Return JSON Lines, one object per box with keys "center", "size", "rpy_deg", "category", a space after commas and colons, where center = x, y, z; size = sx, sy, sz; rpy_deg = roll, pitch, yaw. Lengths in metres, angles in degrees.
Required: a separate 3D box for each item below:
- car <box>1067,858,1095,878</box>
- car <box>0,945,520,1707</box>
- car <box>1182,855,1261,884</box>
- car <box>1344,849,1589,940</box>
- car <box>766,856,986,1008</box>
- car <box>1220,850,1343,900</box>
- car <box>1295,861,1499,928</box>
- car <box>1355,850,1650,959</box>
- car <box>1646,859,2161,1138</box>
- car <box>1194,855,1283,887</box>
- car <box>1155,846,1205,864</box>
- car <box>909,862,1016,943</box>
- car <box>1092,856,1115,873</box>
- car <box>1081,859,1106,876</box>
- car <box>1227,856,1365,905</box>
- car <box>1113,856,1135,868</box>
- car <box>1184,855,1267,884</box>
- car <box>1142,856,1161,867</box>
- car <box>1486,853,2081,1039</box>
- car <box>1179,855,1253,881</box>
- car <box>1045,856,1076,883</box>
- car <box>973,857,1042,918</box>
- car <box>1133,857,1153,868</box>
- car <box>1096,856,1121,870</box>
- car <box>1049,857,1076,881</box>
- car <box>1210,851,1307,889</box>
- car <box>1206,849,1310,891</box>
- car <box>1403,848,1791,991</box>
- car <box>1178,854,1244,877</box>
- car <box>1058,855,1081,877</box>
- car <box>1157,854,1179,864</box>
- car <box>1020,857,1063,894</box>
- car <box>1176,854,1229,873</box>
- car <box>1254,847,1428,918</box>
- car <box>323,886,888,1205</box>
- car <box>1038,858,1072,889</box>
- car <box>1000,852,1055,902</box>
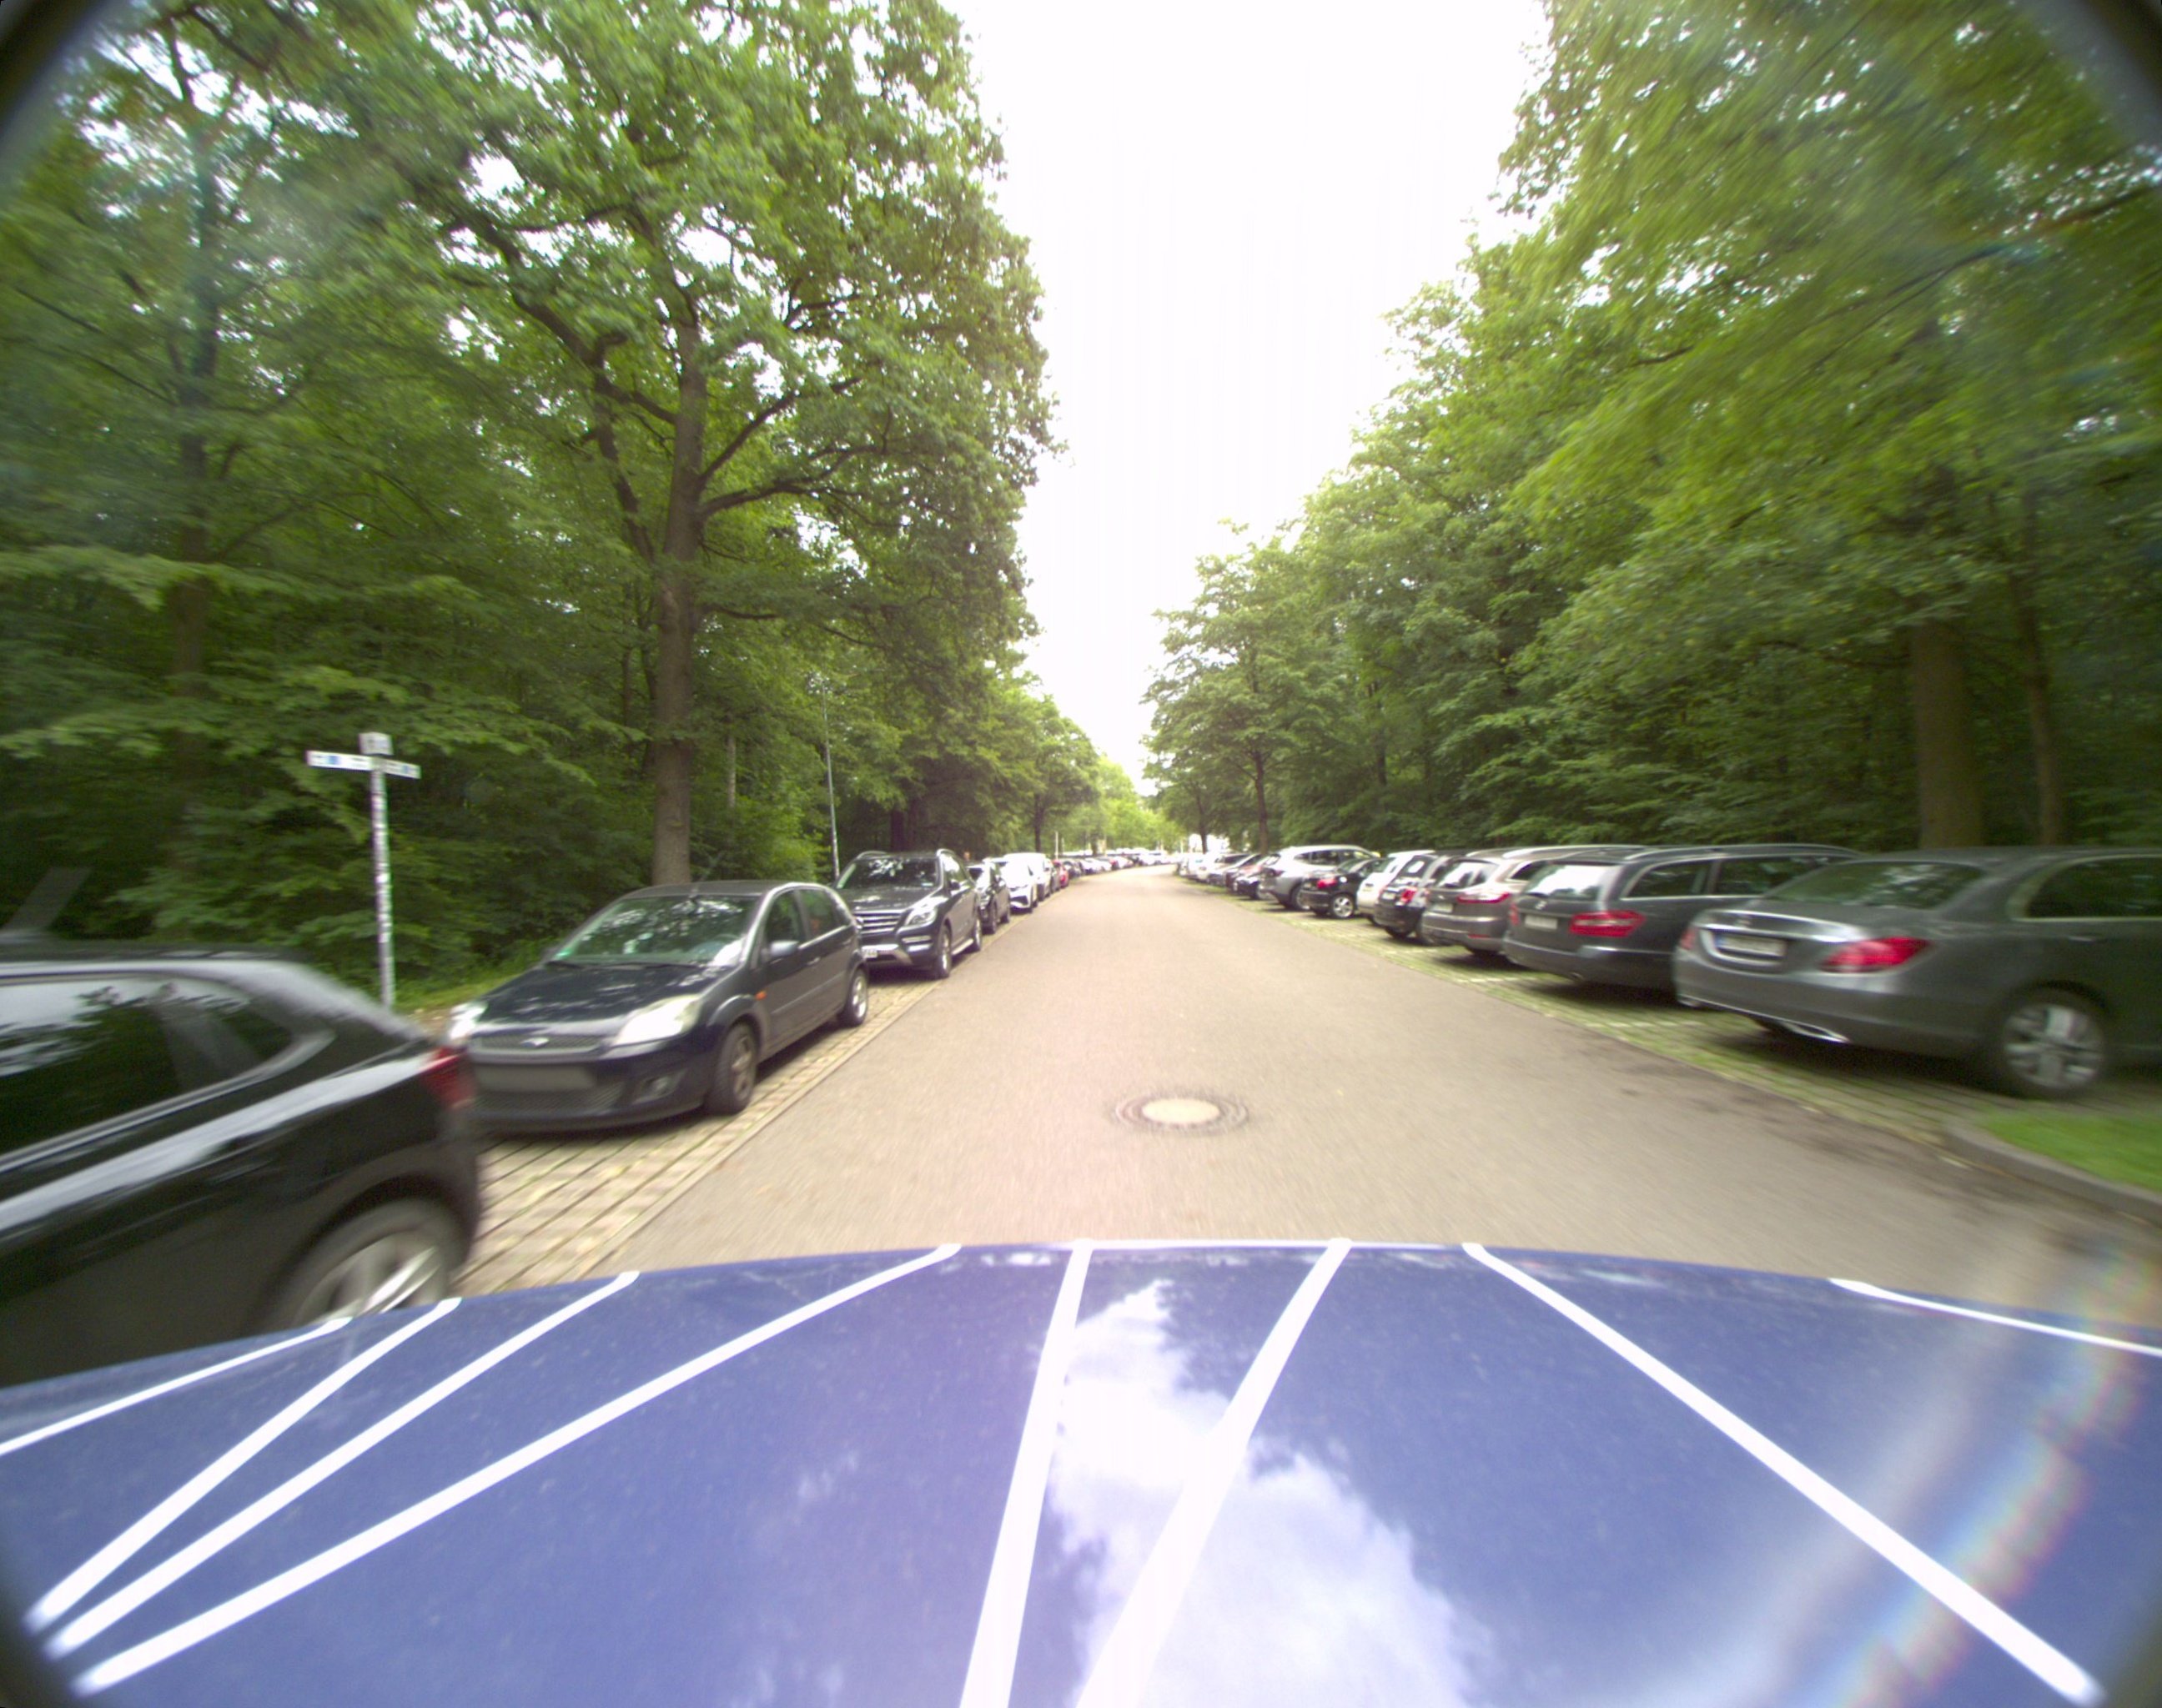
{"center": [0.011, 1.100, 61.469], "size": [1.501, 1.470, 3.669], "rpy_deg": [-2, 0, 12], "category": "car"}
{"center": [-2.900, 1.057, 0.660], "size": [1.824, 1.433, 4.000], "rpy_deg": [-1, 0, 0], "category": "car"}
{"center": [7.734, 0.845, 41.944], "size": [3.998, 1.469, 1.713], "rpy_deg": [-1, 0, -3], "category": "car"}
{"center": [7.551, 0.753, 15.103], "size": [3.999, 1.508, 1.713], "rpy_deg": [-3, 0, -5], "category": "car"}
{"center": [-2.697, 0.929, 11.195], "size": [1.910, 1.713, 4.485], "rpy_deg": [-2, 0, 1], "category": "car"}
{"center": [7.255, 0.723, 27.684], "size": [3.998, 1.699, 1.713], "rpy_deg": [-1, 0, -3], "category": "car"}
{"center": [7.170, 0.884, 17.461], "size": [3.999, 1.363, 1.713], "rpy_deg": [-1, 0, -5], "category": "car"}
{"center": [6.918, 0.777, 12.692], "size": [3.999, 1.508, 1.713], "rpy_deg": [-3, 0, -5], "category": "car"}
{"center": [6.544, 0.806, 4.990], "size": [4.220, 1.447, 1.818], "rpy_deg": [-1, 0, 4], "category": "car"}
{"center": [7.795, 0.814, 37.746], "size": [3.998, 1.469, 1.713], "rpy_deg": [-1, 0, -3], "category": "car"}
{"center": [8.625, 0.111, 66.084], "size": [3.992, 1.412, 1.783], "rpy_deg": [-2, 1, 16], "category": "car"}
{"center": [-2.569, 0.998, 17.324], "size": [1.705, 1.529, 3.962], "rpy_deg": [-2, 0, 1], "category": "car"}
{"center": [2.124, 0.973, 71.246], "size": [1.501, 1.470, 3.669], "rpy_deg": [-2, -1, 12], "category": "car"}
{"center": [1.108, 1.167, 66.416], "size": [1.501, 1.331, 3.435], "rpy_deg": [-2, 0, 11], "category": "car"}
{"center": [7.014, 0.835, 25.016], "size": [3.998, 1.480, 1.713], "rpy_deg": [-1, 0, -3], "category": "car"}
{"center": [4.865, 0.909, 86.003], "size": [1.771, 1.308, 3.894], "rpy_deg": [-2, -1, 13], "category": "car"}
{"center": [7.581, 0.799, 40.022], "size": [3.998, 1.469, 1.713], "rpy_deg": [-1, 0, -3], "category": "car"}
{"center": [9.359, 0.951, 100.840], "size": [1.770, 1.308, 3.894], "rpy_deg": [-2, 0, 15], "category": "car"}
{"center": [6.623, 0.804, 7.546], "size": [4.222, 1.528, 1.818], "rpy_deg": [-1, 0, 0], "category": "car"}
{"center": [7.963, 0.807, 45.001], "size": [3.998, 1.469, 1.713], "rpy_deg": [-1, 0, -3], "category": "car"}
{"center": [-1.161, 0.860, 44.502], "size": [1.502, 1.470, 3.666], "rpy_deg": [-2, 0, 2], "category": "car"}
{"center": [-2.108, 0.927, 22.789], "size": [1.580, 1.610, 3.962], "rpy_deg": [-2, 0, 1], "category": "car"}
{"center": [7.833, 1.068, 95.990], "size": [1.770, 1.308, 3.894], "rpy_deg": [-2, 0, 15], "category": "car"}
{"center": [2.814, 0.938, 76.518], "size": [1.771, 1.308, 3.894], "rpy_deg": [-2, -1, 13], "category": "car"}
{"center": [-1.195, 0.954, 50.236], "size": [1.502, 1.470, 3.666], "rpy_deg": [-2, 0, 2], "category": "car"}
{"center": [8.111, 0.724, 34.888], "size": [3.998, 1.661, 1.713], "rpy_deg": [-1, 0, -3], "category": "car"}
{"center": [7.542, 0.662, 32.606], "size": [3.998, 1.661, 1.713], "rpy_deg": [-1, 0, -3], "category": "car"}
{"center": [6.608, 0.773, 9.978], "size": [3.999, 1.508, 1.713], "rpy_deg": [-3, 0, -5], "category": "car"}
{"center": [8.559, 0.737, 50.122], "size": [3.998, 1.469, 1.713], "rpy_deg": [-1, 0, -3], "category": "car"}
{"center": [-0.812, 0.869, 56.297], "size": [1.502, 1.470, 3.666], "rpy_deg": [-2, 0, 2], "category": "car"}
{"center": [12.556, 0.730, 109.439], "size": [1.769, 1.308, 3.896], "rpy_deg": [-2, 0, 26], "category": "car"}
{"center": [-1.762, 0.945, 34.908], "size": [1.642, 1.561, 3.666], "rpy_deg": [-2, 0, 2], "category": "car"}
{"center": [9.918, 0.757, 61.948], "size": [3.992, 1.412, 1.783], "rpy_deg": [-2, 1, 16], "category": "car"}
{"center": [6.777, 0.722, 20.046], "size": [3.998, 1.717, 1.713], "rpy_deg": [-1, 0, -3], "category": "car"}
{"center": [-3.000, 1.087, 6.034], "size": [1.750, 1.418, 4.189], "rpy_deg": [-2, 0, 1], "category": "car"}
{"center": [-1.332, 1.011, 39.920], "size": [1.502, 1.470, 3.666], "rpy_deg": [-2, 0, 2], "category": "car"}
{"center": [-2.004, 0.838, 29.313], "size": [1.642, 1.742, 4.054], "rpy_deg": [-2, 0, 2], "category": "car"}
